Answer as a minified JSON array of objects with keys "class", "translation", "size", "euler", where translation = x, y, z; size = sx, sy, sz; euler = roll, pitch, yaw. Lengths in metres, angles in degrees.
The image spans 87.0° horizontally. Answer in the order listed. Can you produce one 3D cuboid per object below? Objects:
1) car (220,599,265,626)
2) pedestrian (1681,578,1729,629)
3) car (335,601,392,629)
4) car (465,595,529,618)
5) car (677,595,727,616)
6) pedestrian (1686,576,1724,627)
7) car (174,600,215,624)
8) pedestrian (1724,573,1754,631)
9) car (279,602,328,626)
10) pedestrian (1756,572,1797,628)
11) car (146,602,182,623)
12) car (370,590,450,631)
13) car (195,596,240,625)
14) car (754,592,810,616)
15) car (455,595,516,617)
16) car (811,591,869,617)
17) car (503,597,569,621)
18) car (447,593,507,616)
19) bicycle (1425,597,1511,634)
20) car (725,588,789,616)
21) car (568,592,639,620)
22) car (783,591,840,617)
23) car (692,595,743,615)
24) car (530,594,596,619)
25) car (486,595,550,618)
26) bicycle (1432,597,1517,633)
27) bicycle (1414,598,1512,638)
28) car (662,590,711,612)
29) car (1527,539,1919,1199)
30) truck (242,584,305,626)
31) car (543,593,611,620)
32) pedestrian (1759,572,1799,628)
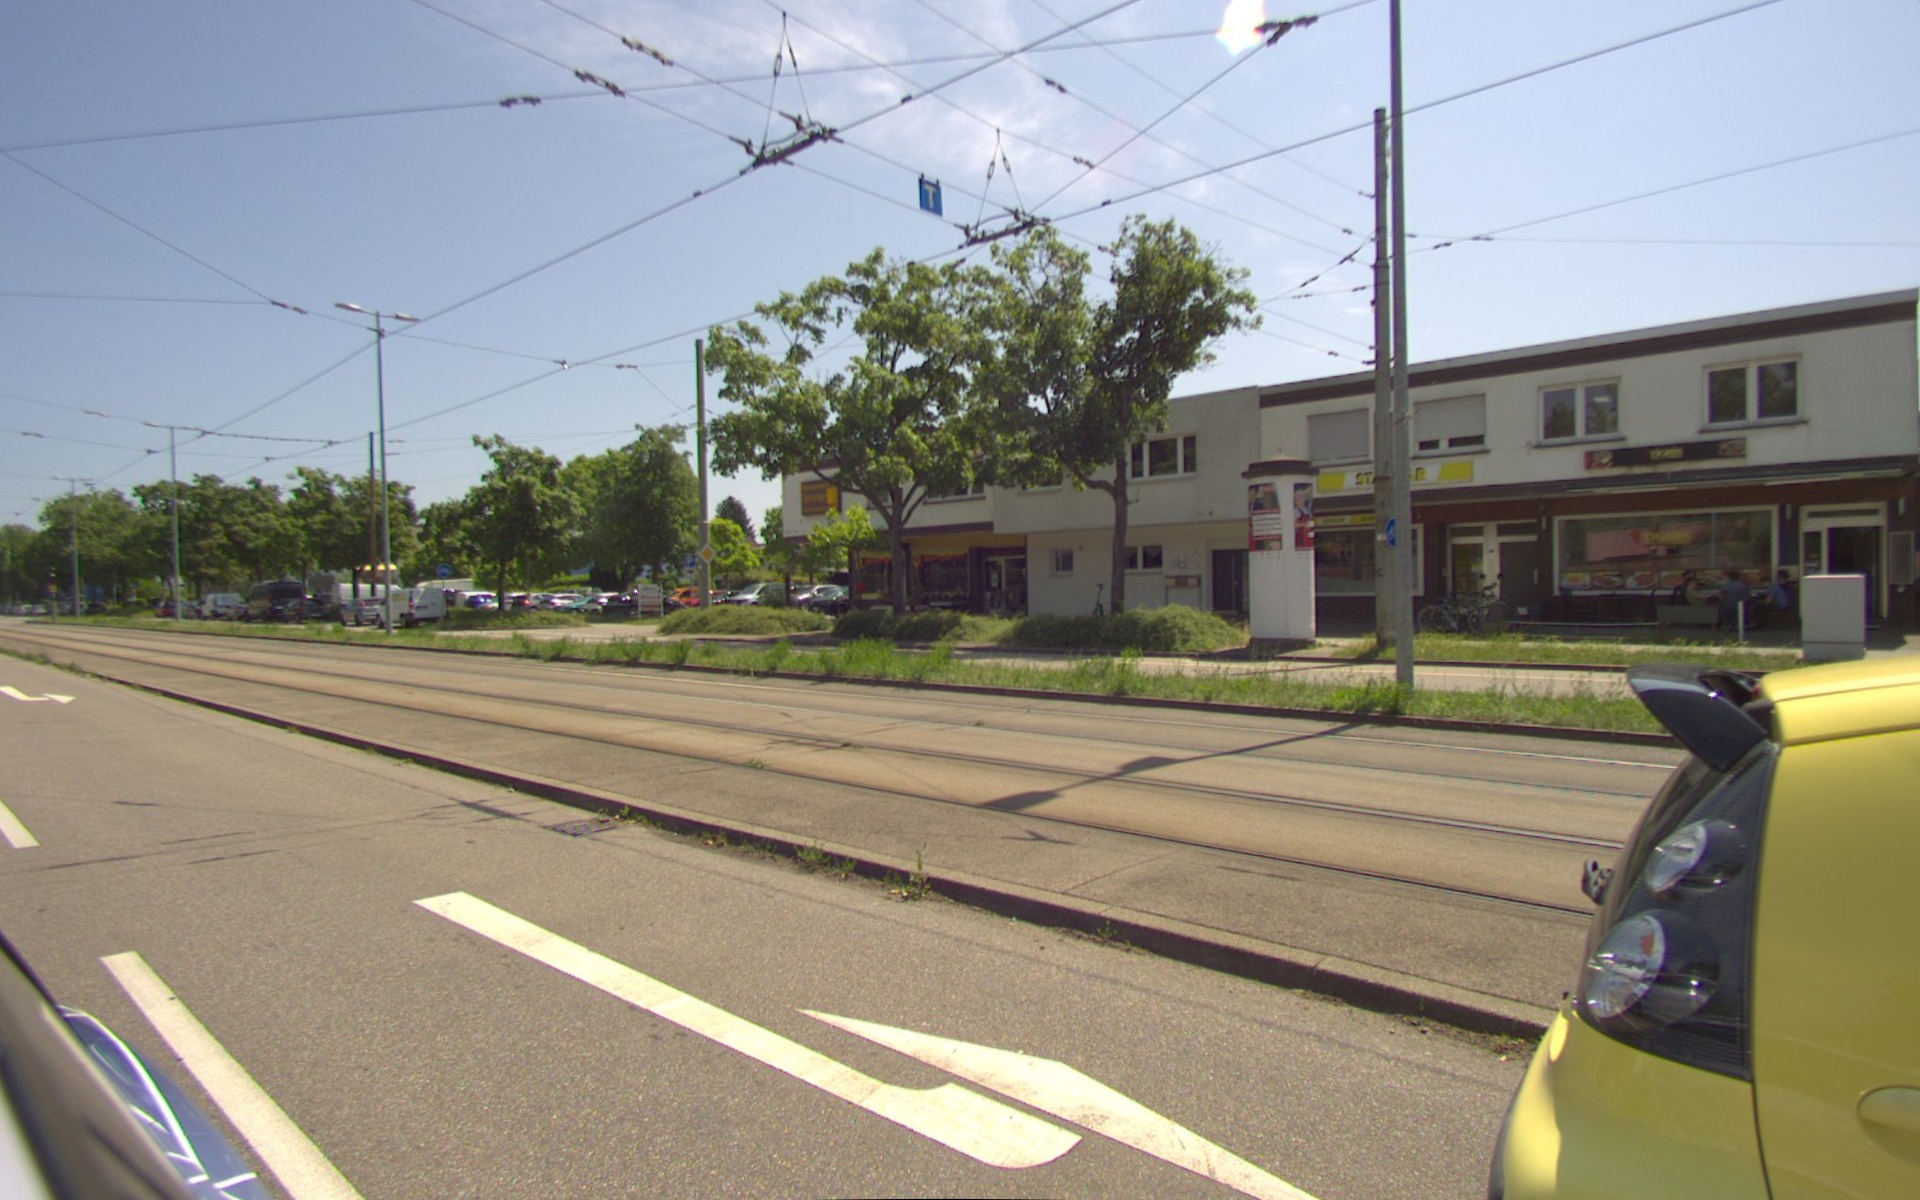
[{"class":"car","translation":[-50.030,0.892,70.532],"size":[3.867,1.807,1.660],"euler":[-1,0,41]},{"class":"pedestrian","translation":[16.900,0.080,22.957],"size":[0.810,1.136,0.558],"euler":[-1,0,42]},{"class":"car","translation":[-31.733,0.801,53.793],"size":[3.569,1.397,1.652],"euler":[-1,1,43]},{"class":"car","translation":[-29.831,0.407,65.260],"size":[1.600,1.404,3.374],"euler":[-1,0,36]},{"class":"car","translation":[-18.816,0.387,73.889],"size":[1.505,1.469,3.314],"euler":[-1,1,38]},{"class":"pedestrian","translation":[17.328,0.028,23.540],"size":[0.674,1.172,0.512],"euler":[-1,0,42]},{"class":"car","translation":[-58.812,0.912,77.765],"size":[4.200,1.807,1.660],"euler":[-1,0,41]},{"class":"pedestrian","translation":[16.974,0.044,22.049],"size":[0.491,1.248,0.569],"euler":[-1,0,41]},{"class":"car","translation":[-39.247,0.831,60.495],"size":[3.670,1.397,1.652],"euler":[-1,1,43]},{"class":"pedestrian","translation":[17.822,-0.005,22.092],"size":[0.674,1.208,0.512],"euler":[-1,0,42]},{"class":"car","translation":[-67.135,1.014,85.330],"size":[3.821,1.716,1.660],"euler":[-1,0,41]},{"class":"car","translation":[-27.046,0.519,49.686],"size":[4.660,1.897,1.972],"euler":[-1,0,42]},{"class":"car","translation":[-54.237,0.761,73.885],"size":[4.507,1.989,1.660],"euler":[-1,0,41]},{"class":"car","translation":[-11.693,0.249,66.537],"size":[1.532,1.549,3.449],"euler":[-1,1,38]},{"class":"car","translation":[-31.665,0.413,67.566],"size":[1.600,1.404,3.374],"euler":[-1,0,36]},{"class":"car","translation":[-7.480,0.247,63.423],"size":[1.622,1.549,3.449],"euler":[-1,1,38]},{"class":"car","translation":[-25.707,0.526,61.422],"size":[1.600,1.404,3.374],"euler":[-1,0,36]},{"class":"car","translation":[-33.294,0.273,69.759],"size":[1.600,1.517,3.374],"euler":[-1,0,36]},{"class":"bicycle","translation":[12.392,0.366,24.700],"size":[1.787,0.854,0.522],"euler":[0,3,42]},{"class":"car","translation":[-13.600,0.111,67.896],"size":[1.812,1.798,3.949],"euler":[-1,0,38]},{"class":"car","translation":[-20.081,0.327,57.045],"size":[1.790,1.502,3.374],"euler":[-1,0,36]},{"class":"car","translation":[-9.515,0.254,65.097],"size":[1.622,1.549,3.449],"euler":[-1,1,38]},{"class":"car","translation":[-17.192,0.346,71.942],"size":[1.505,1.400,3.314],"euler":[-1,1,38]},{"class":"car","translation":[-23.648,0.403,60.354],"size":[1.600,1.404,3.374],"euler":[-1,0,36]},{"class":"car","translation":[-27.860,0.407,63.862],"size":[1.600,1.404,3.374],"euler":[-1,0,36]},{"class":"bicycle","translation":[12.757,0.366,25.118],"size":[1.787,0.854,0.522],"euler":[0,3,42]},{"class":"bicycle","translation":[11.747,0.412,23.662],"size":[1.958,0.854,0.596],"euler":[0,3,41]},{"class":"car","translation":[-20.419,0.046,75.668],"size":[1.505,1.573,3.314],"euler":[-1,0,38]},{"class":"car","translation":[2.689,0.662,0.831],"size":[3.654,1.432,1.599],"euler":[0,-1,41]},{"class":"truck","translation":[-43.847,0.338,64.631],"size":[4.928,2.560,2.196],"euler":[-1,0,42]},{"class":"car","translation":[-22.128,0.348,58.567],"size":[1.596,1.502,3.374],"euler":[-1,0,36]},{"class":"pedestrian","translation":[18.253,-0.003,22.551],"size":[0.674,1.218,0.512],"euler":[-1,0,42]}]
